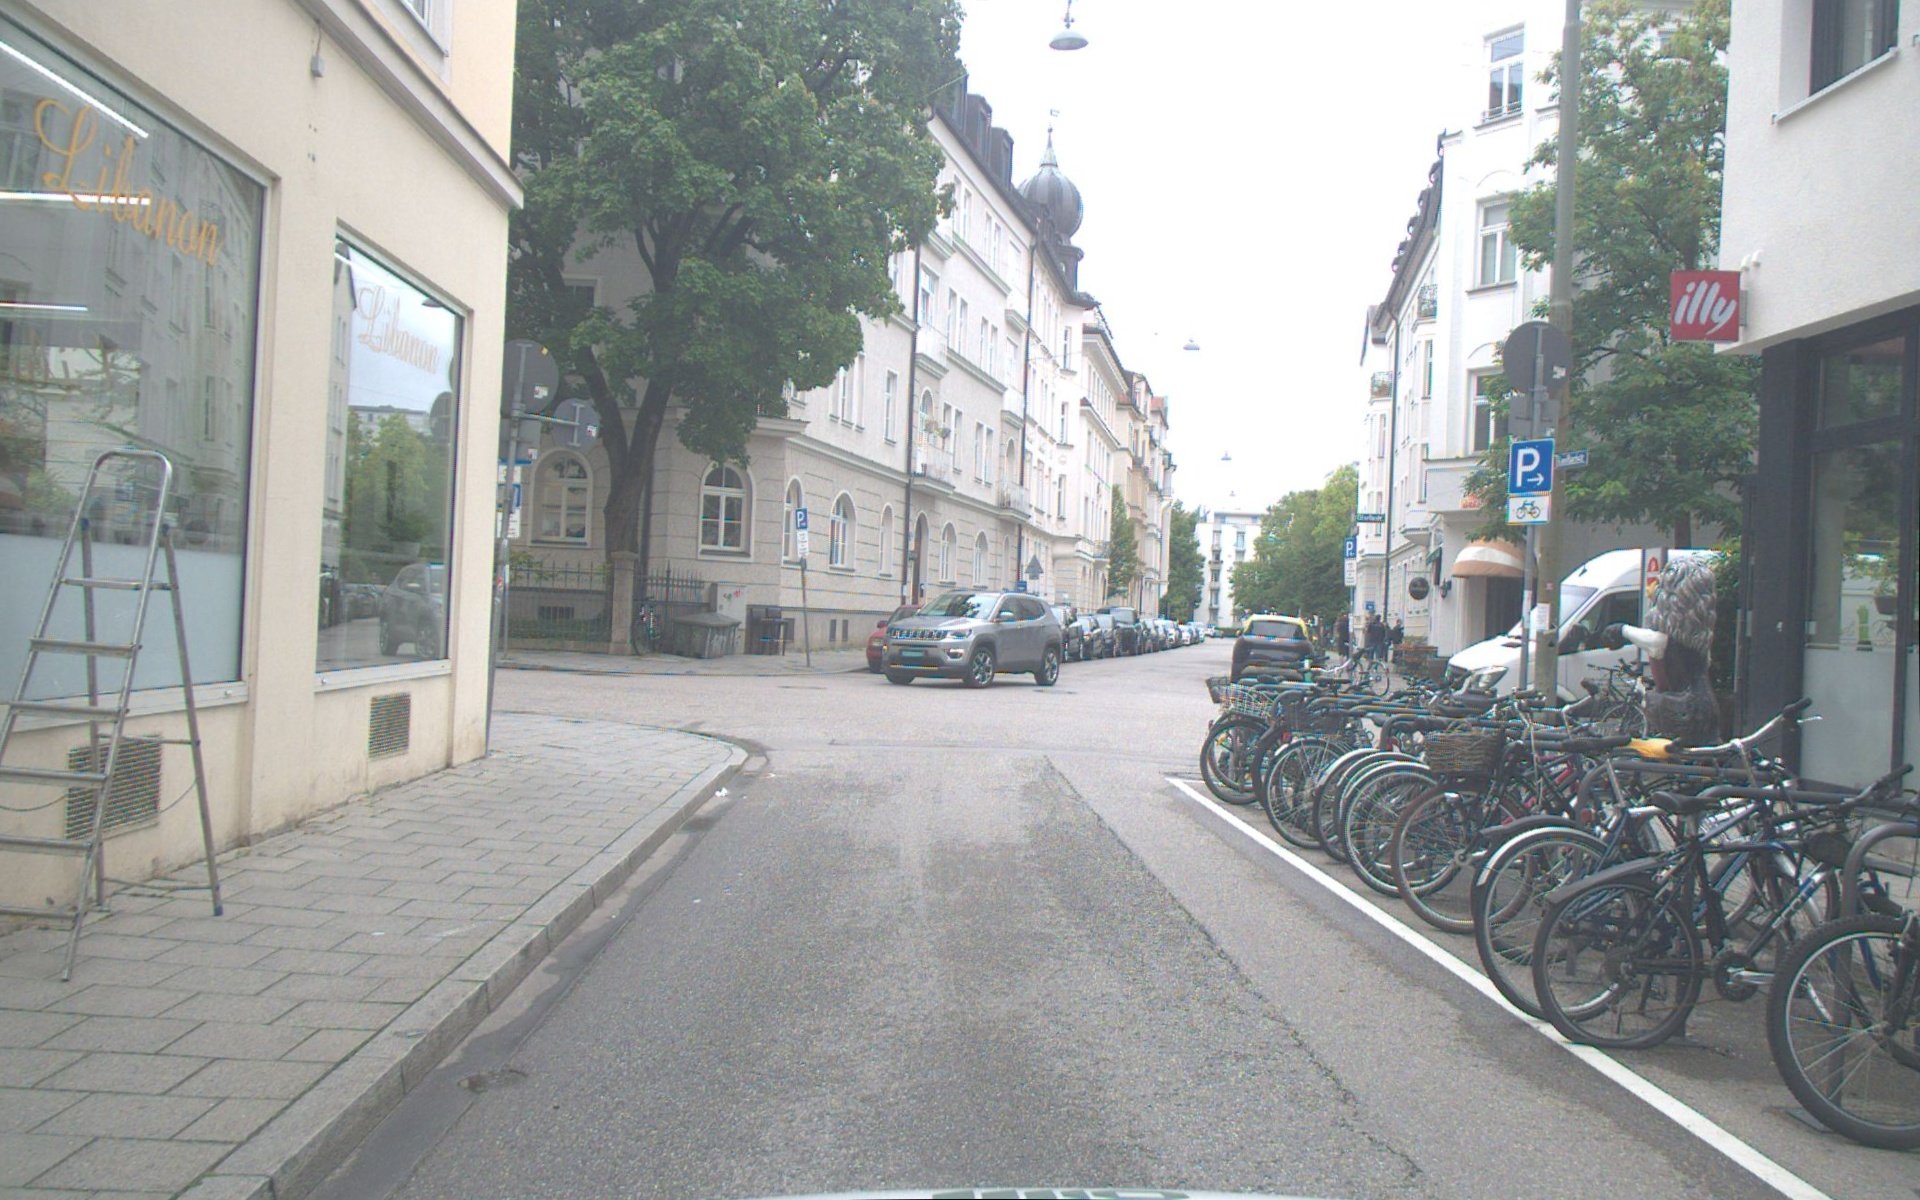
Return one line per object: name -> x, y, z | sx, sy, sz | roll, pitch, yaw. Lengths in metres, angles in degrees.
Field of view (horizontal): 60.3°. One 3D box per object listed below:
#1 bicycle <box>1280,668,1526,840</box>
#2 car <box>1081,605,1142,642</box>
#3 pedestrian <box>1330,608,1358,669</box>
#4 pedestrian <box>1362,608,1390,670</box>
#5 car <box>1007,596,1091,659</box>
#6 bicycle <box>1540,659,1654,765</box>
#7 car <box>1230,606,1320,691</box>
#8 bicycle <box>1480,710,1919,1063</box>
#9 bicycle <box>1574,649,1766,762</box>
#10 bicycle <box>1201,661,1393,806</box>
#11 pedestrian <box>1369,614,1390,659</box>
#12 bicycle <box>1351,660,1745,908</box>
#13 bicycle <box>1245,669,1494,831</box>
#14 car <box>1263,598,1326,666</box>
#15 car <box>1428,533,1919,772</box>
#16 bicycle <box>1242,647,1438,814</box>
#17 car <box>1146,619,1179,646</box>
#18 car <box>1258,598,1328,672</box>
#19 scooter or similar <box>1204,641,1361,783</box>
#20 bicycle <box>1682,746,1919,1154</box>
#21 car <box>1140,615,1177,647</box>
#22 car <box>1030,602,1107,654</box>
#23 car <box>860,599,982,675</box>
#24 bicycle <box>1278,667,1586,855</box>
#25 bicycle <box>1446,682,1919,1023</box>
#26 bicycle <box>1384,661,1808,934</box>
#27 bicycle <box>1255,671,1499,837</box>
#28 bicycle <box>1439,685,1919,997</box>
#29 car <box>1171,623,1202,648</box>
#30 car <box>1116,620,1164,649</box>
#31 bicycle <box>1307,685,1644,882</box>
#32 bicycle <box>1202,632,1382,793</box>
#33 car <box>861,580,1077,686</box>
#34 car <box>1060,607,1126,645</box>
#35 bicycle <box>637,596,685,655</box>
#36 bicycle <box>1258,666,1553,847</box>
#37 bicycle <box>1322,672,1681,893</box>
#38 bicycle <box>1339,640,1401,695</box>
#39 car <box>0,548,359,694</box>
bicycle -> 3.070, 1.065, 11.498 | 1.581, 1.098, 0.377 | 3, 1, -5
car -> 6.037, 0.919, 65.448 | 1.866, 1.352, 4.003 | 3, 0, 12
pedestrian -> 12.183, 1.208, 52.514 | 0.761, 1.883, 1.023 | 2, 0, 13
pedestrian -> 13.035, 1.221, 51.856 | 0.761, 1.883, 1.023 | 2, 0, 13
car -> 2.695, 0.803, 49.149 | 1.951, 1.705, 4.292 | 3, 0, 10
bicycle -> 7.409, 1.297, 19.249 | 1.153, 1.147, 0.340 | 3, 0, 5
car -> 7.203, 1.071, 37.701 | 1.782, 1.664, 4.292 | 5, 0, 12
bicycle -> 2.942, 1.050, 6.107 | 1.837, 1.127, 0.488 | 4, 1, -4
bicycle -> 7.982, 1.178, 18.646 | 1.861, 1.147, 0.592 | 3, 0, 3
bicycle -> 2.750, 1.086, 13.522 | 1.424, 1.088, 0.462 | 3, 0, -10
pedestrian -> 18.007, 1.564, 70.987 | 0.762, 1.883, 0.859 | 2, 0, 19
bicycle -> 3.059, 0.949, 8.675 | 1.856, 1.190, 0.565 | 2, 0, -5
bicycle -> 3.032, 1.109, 12.296 | 1.706, 1.098, 0.452 | 3, 1, -5
car -> 10.779, 1.024, 53.321 | 1.782, 1.956, 4.186 | 5, 0, 12
car -> 9.174, 0.616, 21.075 | 5.771, 2.636, 2.061 | 3, 1, 3
bicycle -> 3.000, 1.030, 13.079 | 1.424, 1.228, 0.394 | 3, 0, -10
car -> 11.577, 1.840, 94.274 | 1.697, 1.444, 4.003 | 3, 0, 9
car -> 9.668, 0.987, 47.976 | 1.782, 1.903, 4.292 | 5, 0, 12
scooter or similar -> 2.980, 1.032, 15.336 | 1.325, 1.231, 0.417 | 3, 0, 0
bicycle -> 3.262, 1.092, 5.072 | 1.837, 1.098, 0.488 | 5, 1, -4
car -> 10.622, 1.653, 88.386 | 1.782, 1.601, 4.003 | 3, 0, 9
car -> 3.647, 0.924, 55.068 | 1.885, 1.573, 4.003 | 3, 0, 13
car -> -0.741, 0.751, 34.574 | 1.694, 1.402, 4.230 | 3, 0, 10
bicycle -> 3.018, 1.029, 10.617 | 1.837, 1.098, 0.402 | 3, 1, -5
bicycle -> 2.956, 0.997, 6.628 | 1.837, 1.225, 0.488 | 3, 1, -4
bicycle -> 3.068, 0.943, 8.047 | 1.837, 1.225, 0.579 | 2, 0, -4
bicycle -> 2.990, 1.104, 11.880 | 1.642, 1.098, 0.336 | 3, 1, -5
bicycle -> 3.153, 1.047, 7.317 | 1.837, 1.177, 0.565 | 4, 1, -4
car -> 15.776, 2.458, 115.073 | 1.951, 1.601, 4.003 | 3, 0, 9
car -> 8.398, 1.597, 77.012 | 1.866, 1.243, 4.003 | 3, 0, 11
bicycle -> 3.075, 1.086, 9.921 | 1.837, 1.070, 0.563 | 2, -2, -5
bicycle -> 2.907, 0.980, 14.537 | 1.427, 1.307, 0.445 | 3, 0, -1
car -> 0.248, 0.564, 28.793 | 1.920, 1.636, 4.302 | 2, 0, 28
car -> 4.944, 0.956, 60.971 | 1.866, 1.243, 4.003 | 3, 0, 12
bicycle -> -5.938, 0.484, 32.919 | 0.483, 1.070, 1.828 | 3, 2, 3
bicycle -> 2.968, 1.038, 11.055 | 1.837, 1.098, 0.408 | 3, 1, -5
bicycle -> 3.003, 1.009, 9.216 | 1.837, 1.114, 0.439 | 3, 1, -5
bicycle -> 8.336, 1.357, 33.676 | 0.529, 1.016, 1.751 | -1, 0, -11
car -> -10.325, 0.232, 21.521 | 4.245, 1.541, 1.904 | 3, 3, 0
